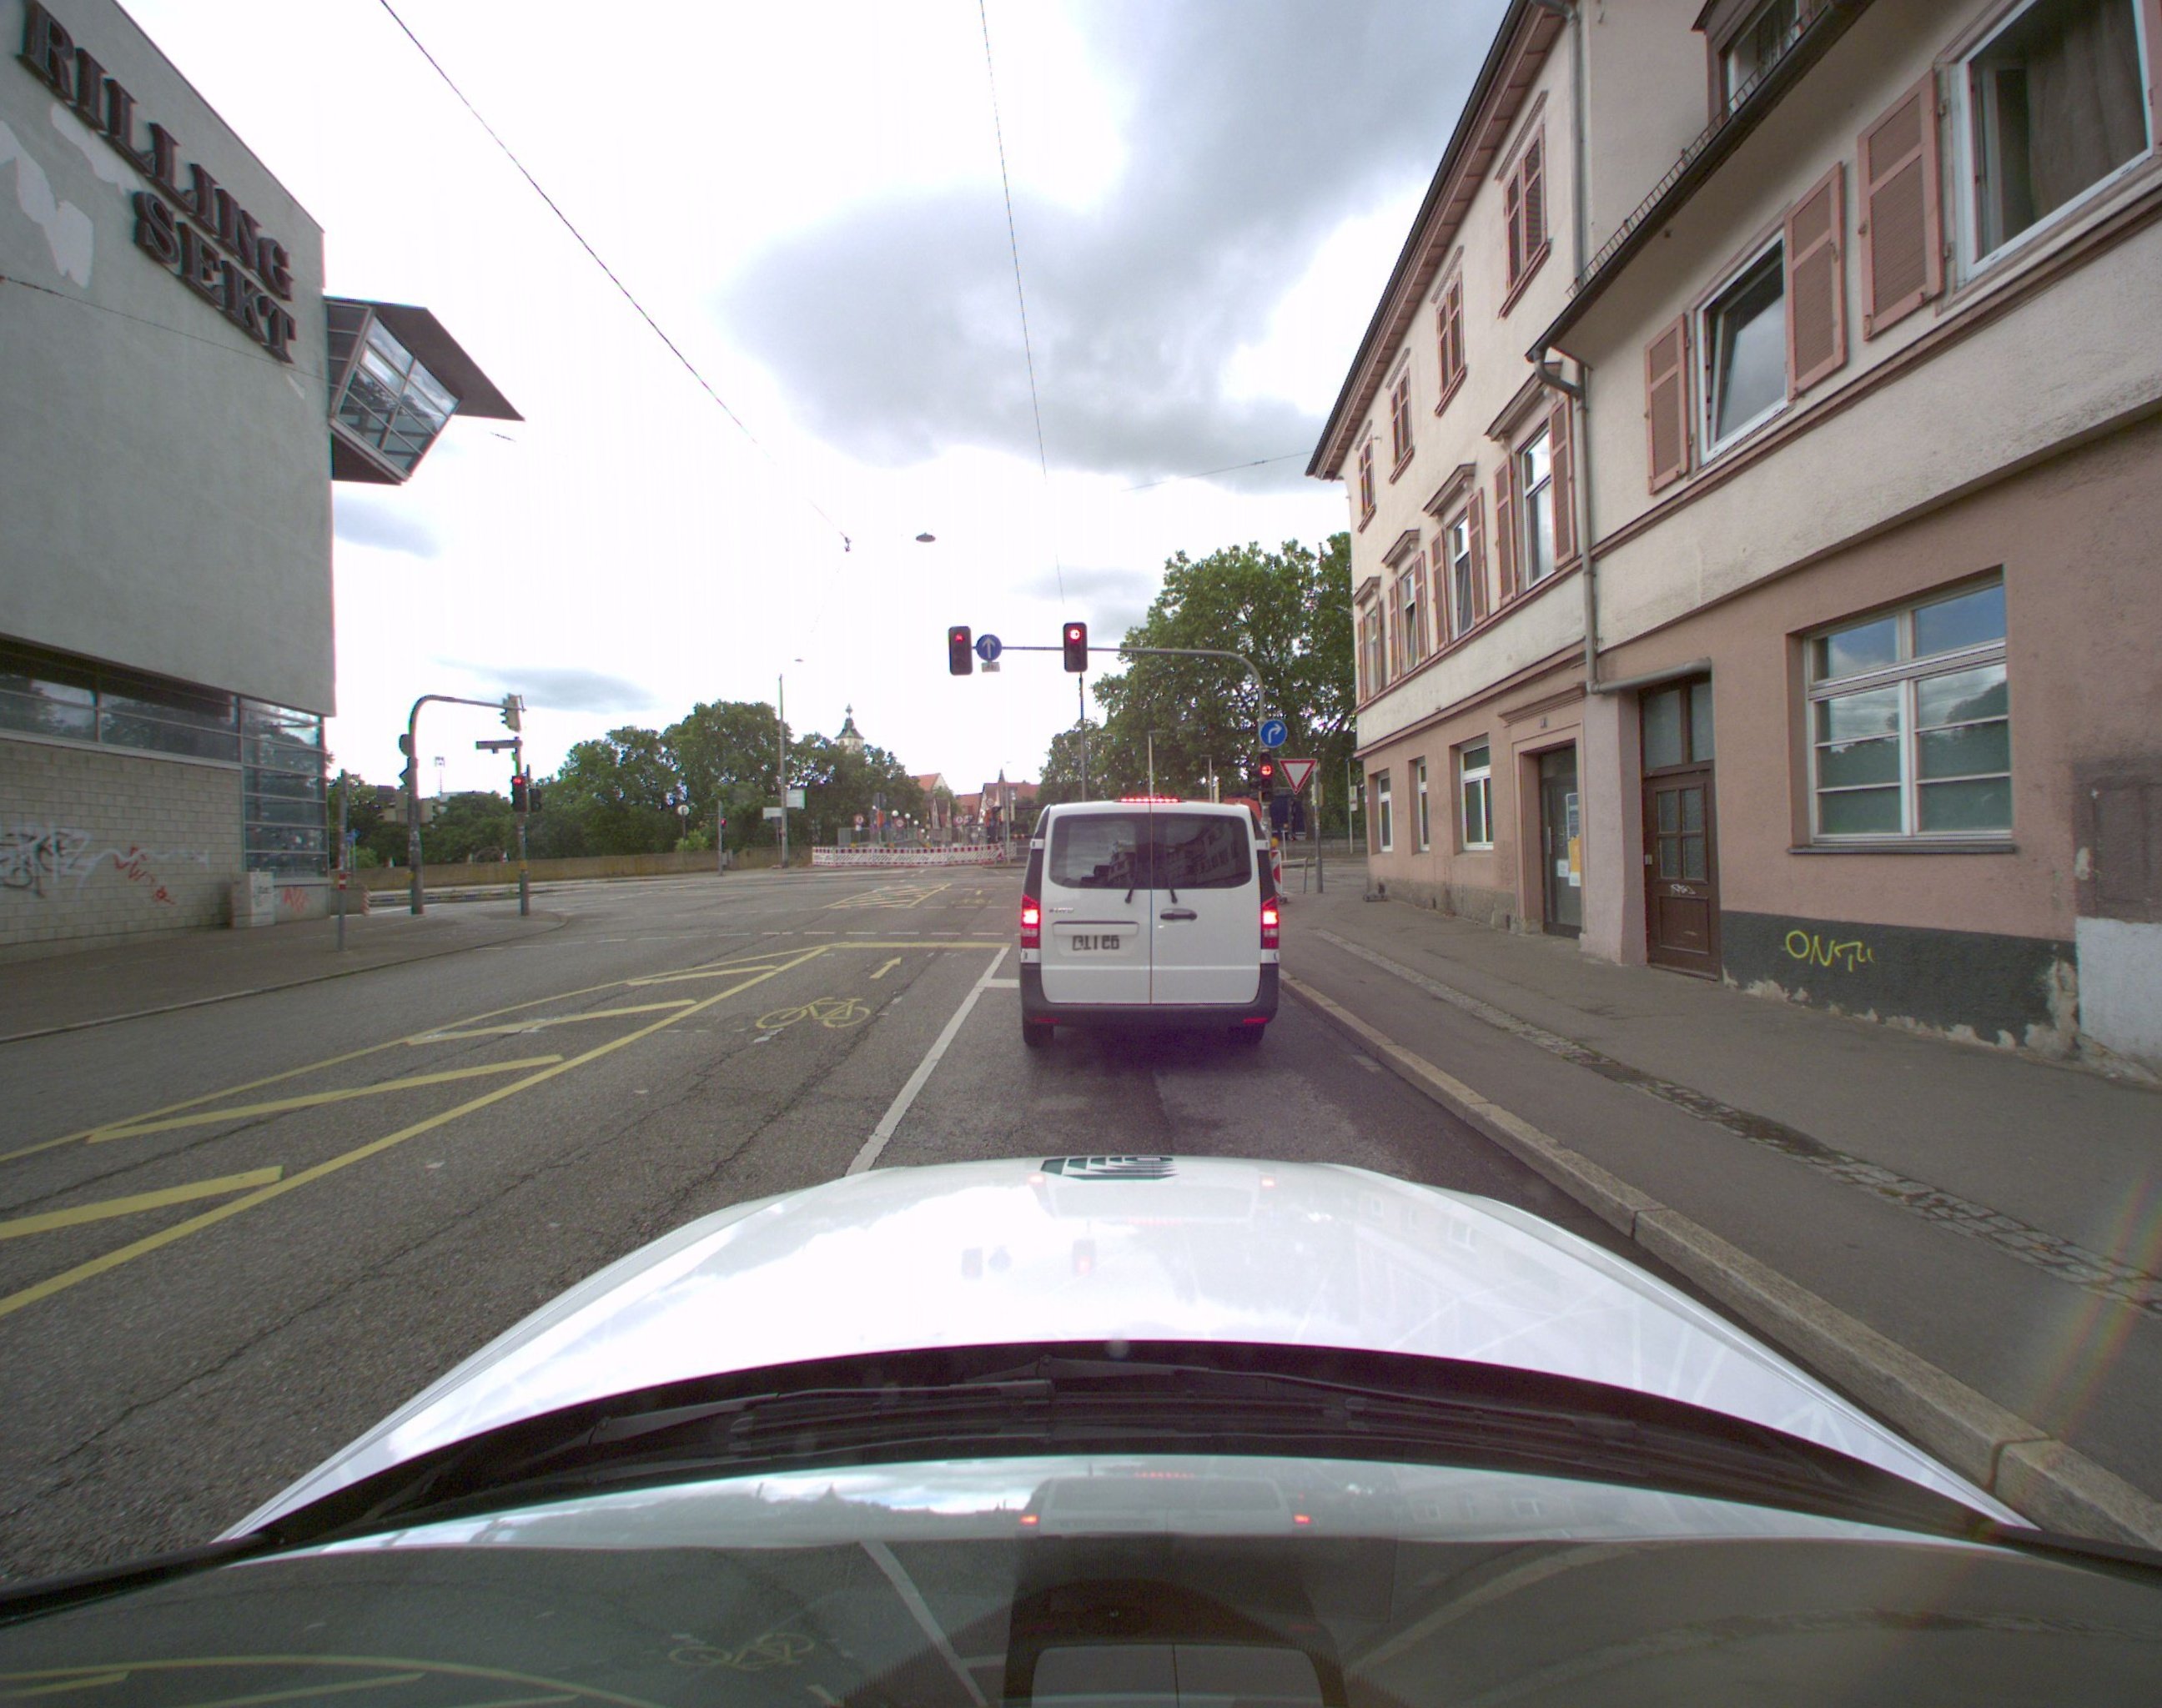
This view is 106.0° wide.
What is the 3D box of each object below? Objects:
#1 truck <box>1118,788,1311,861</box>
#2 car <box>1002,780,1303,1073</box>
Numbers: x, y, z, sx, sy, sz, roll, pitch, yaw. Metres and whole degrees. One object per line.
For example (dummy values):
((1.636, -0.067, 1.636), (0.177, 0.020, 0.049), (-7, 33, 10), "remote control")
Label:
((7.268, -1.585, 44.569), (10.177, 3.696, 2.265), (-1, 0, -8), "truck")
((0.475, 0.418, 7.532), (1.987, 1.922, 4.248), (-1, 2, 0), "car")
